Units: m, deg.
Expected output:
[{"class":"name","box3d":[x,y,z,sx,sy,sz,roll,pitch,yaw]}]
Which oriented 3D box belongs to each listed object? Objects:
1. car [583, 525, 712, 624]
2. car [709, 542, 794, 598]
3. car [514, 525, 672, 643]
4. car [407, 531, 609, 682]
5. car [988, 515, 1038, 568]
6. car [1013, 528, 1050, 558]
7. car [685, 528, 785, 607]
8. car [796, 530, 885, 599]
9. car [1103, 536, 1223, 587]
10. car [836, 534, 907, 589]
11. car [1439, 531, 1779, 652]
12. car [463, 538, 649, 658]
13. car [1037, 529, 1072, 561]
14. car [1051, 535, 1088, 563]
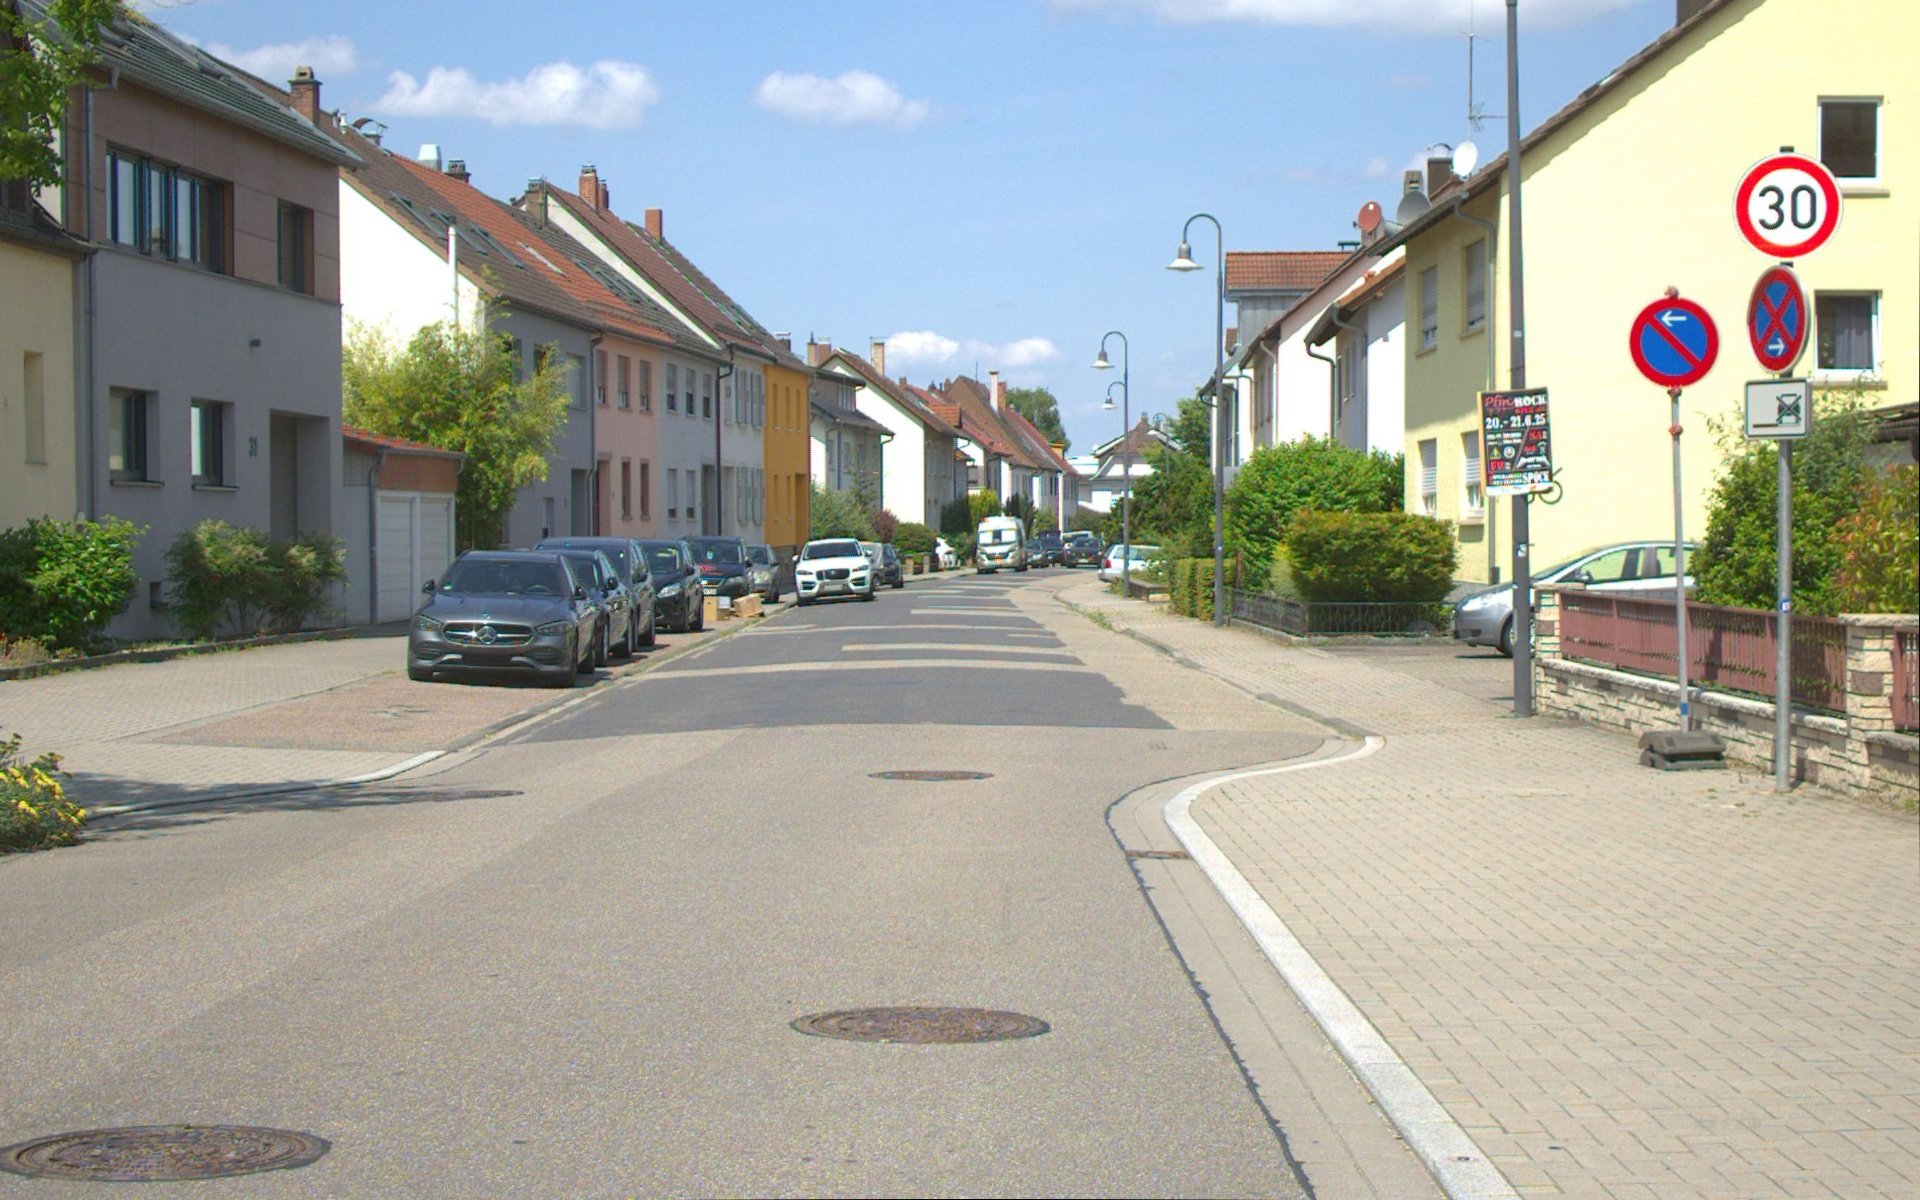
[{"class":"car","box3d":[-5.430,-0.466,60.177,1.779,1.603,4.000,2,1,1]},{"class":"car","box3d":[-5.255,-0.778,87.132,1.672,1.331,3.722,2,1,3]},{"class":"car","box3d":[-5.342,-0.262,50.491,1.779,1.603,4.000,2,1,1]},{"class":"car","box3d":[-5.091,0.031,39.188,1.816,1.428,4.140,4,2,-2]},{"class":"car","box3d":[2.441,-2.671,157.805,2.045,2.304,3.771,1,0,4]},{"class":"car","box3d":[3.756,-2.952,179.848,1.692,1.498,3.771,1,0,4]},{"class":"car","box3d":[-4.879,-0.724,74.949,1.811,1.603,4.000,2,1,1]},{"class":"car","box3d":[-3.038,-0.922,88.068,1.850,1.653,4.000,2,1,3]},{"class":"car","box3d":[6.120,-1.162,103.736,3.523,1.459,1.628,1,0,1]},{"class":"car","box3d":[-2.791,-1.225,109.083,1.850,1.653,4.000,2,1,3]},{"class":"car","box3d":[8.169,-0.121,43.522,3.987,1.468,1.746,0,1,1]},{"class":"car","box3d":[-5.213,-0.056,44.817,1.816,1.429,4.139,2,1,1]},{"class":"car","box3d":[5.155,-2.986,187.296,1.692,1.654,3.771,1,0,4]},{"class":"car","box3d":[5.493,-2.557,172.082,1.692,1.337,3.771,1,0,4]}]
